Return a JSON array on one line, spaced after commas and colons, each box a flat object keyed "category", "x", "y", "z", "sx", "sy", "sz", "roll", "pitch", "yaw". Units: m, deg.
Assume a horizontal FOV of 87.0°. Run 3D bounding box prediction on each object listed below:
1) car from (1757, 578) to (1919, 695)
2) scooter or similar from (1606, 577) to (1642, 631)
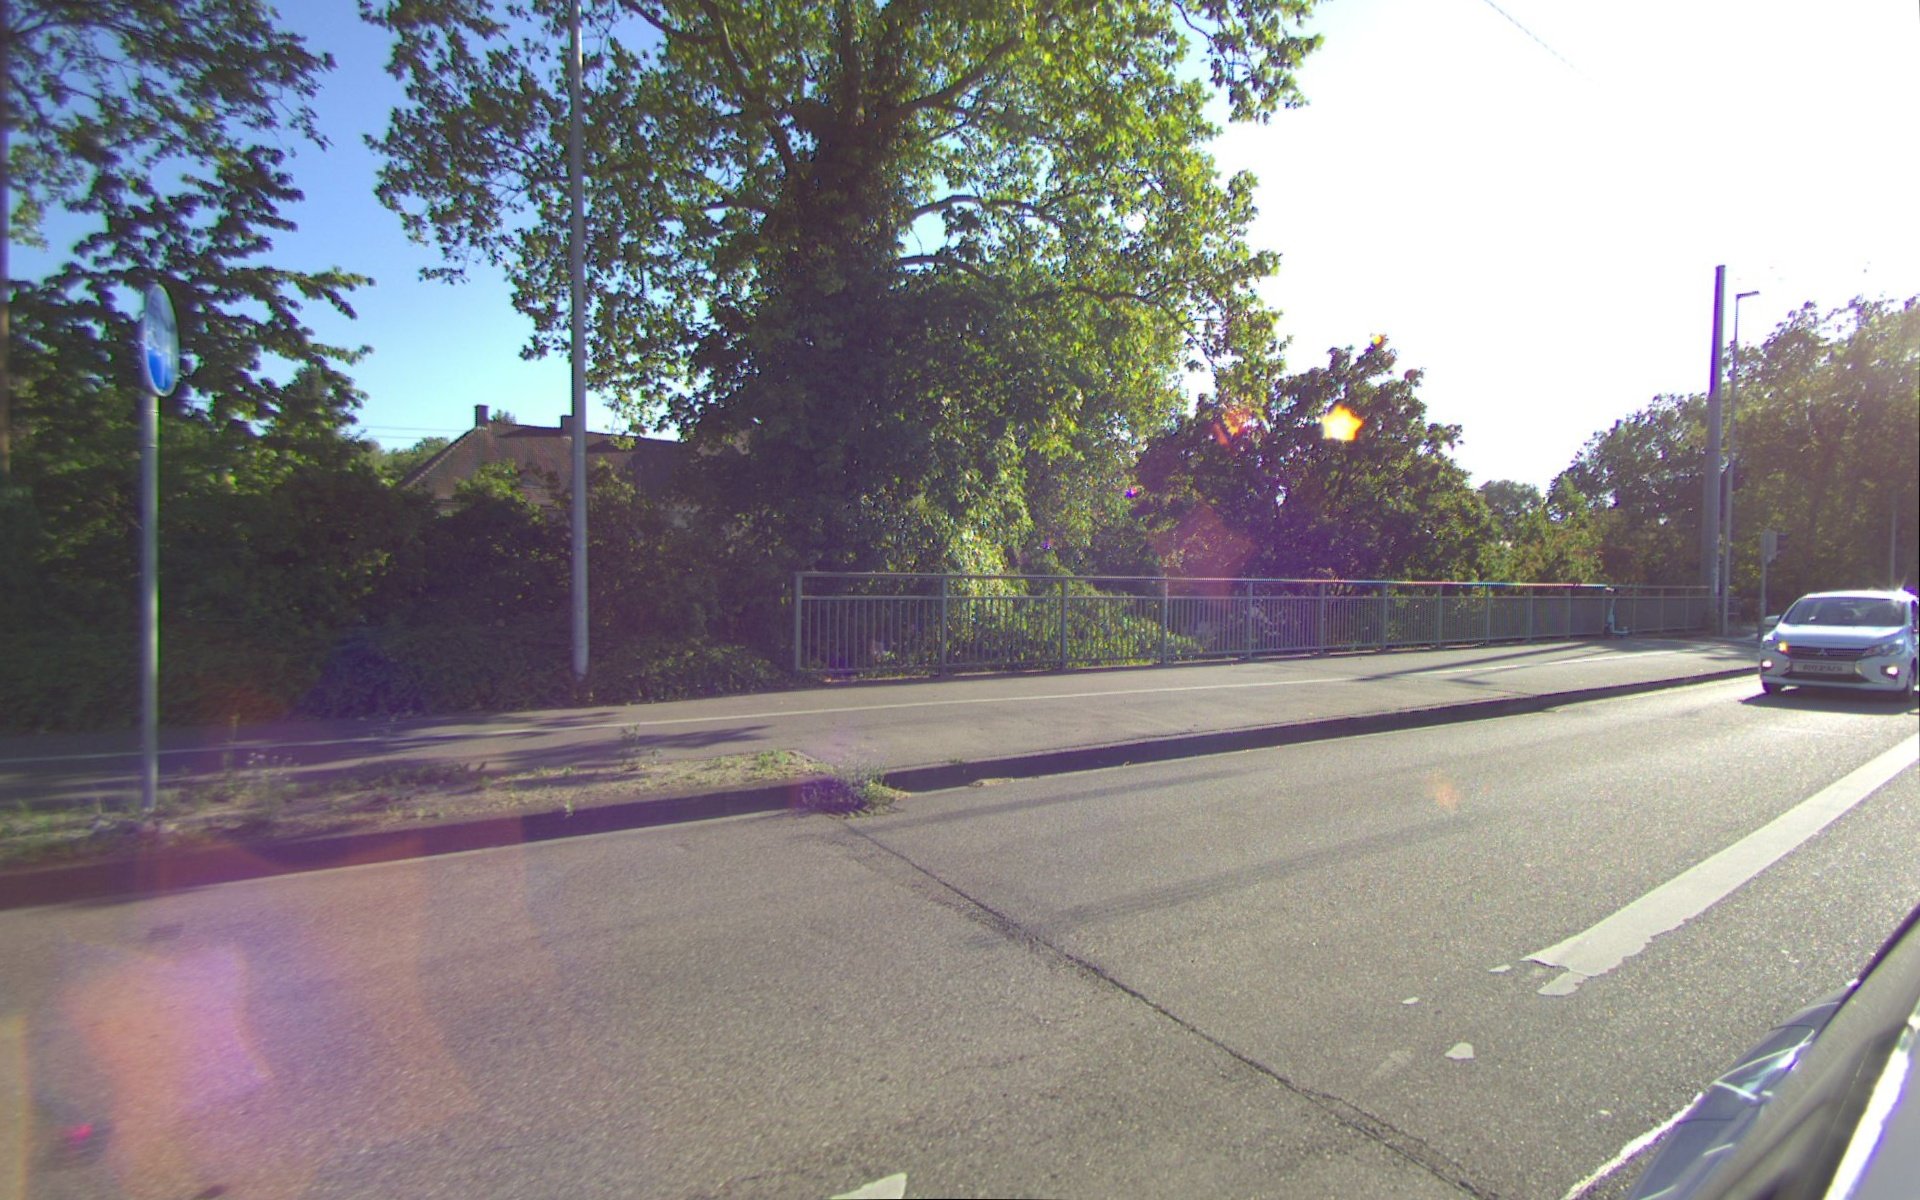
[{"category": "car", "x": 13.235, "y": 0.428, "z": 14.745, "sx": 3.675, "sy": 1.492, "sz": 1.672, "roll": -1, "pitch": 1, "yaw": -37}, {"category": "scooter or similar", "x": 16.370, "y": 0.088, "z": 24.934, "sx": 1.064, "sy": 1.290, "sz": 0.427, "roll": 0, "pitch": 2, "yaw": -40}]
